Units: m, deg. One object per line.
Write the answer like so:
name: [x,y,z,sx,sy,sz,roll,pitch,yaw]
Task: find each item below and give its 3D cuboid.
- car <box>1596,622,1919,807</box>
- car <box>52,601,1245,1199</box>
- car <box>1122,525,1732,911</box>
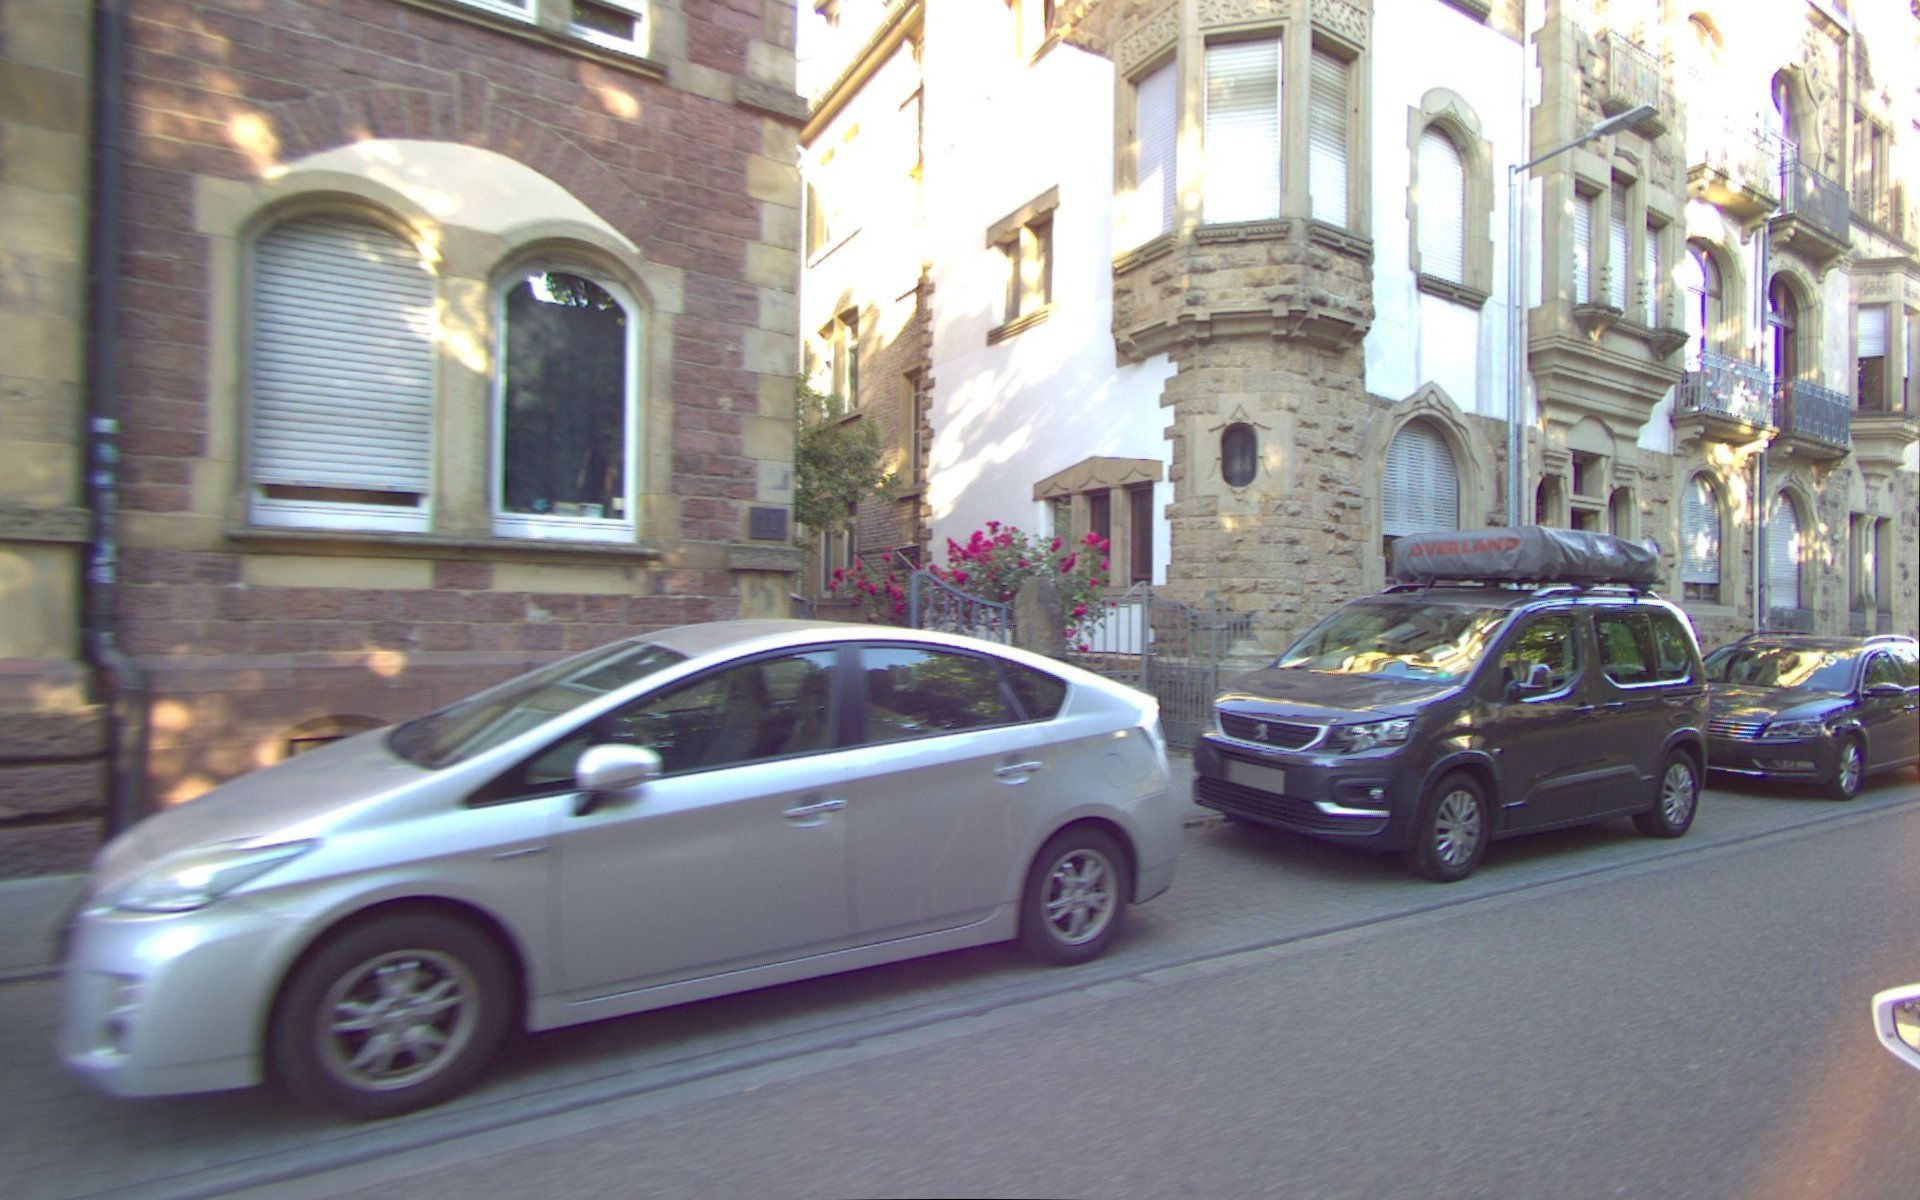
car: [8.884,1.100,10.626,4.654,1.595,1.721,3,-2,-30]
car: [-0.896,0.813,4.466,4.408,1.519,1.719,1,0,-34]
car: [3.498,0.644,7.257,4.450,2.000,1.957,1,0,-34]
